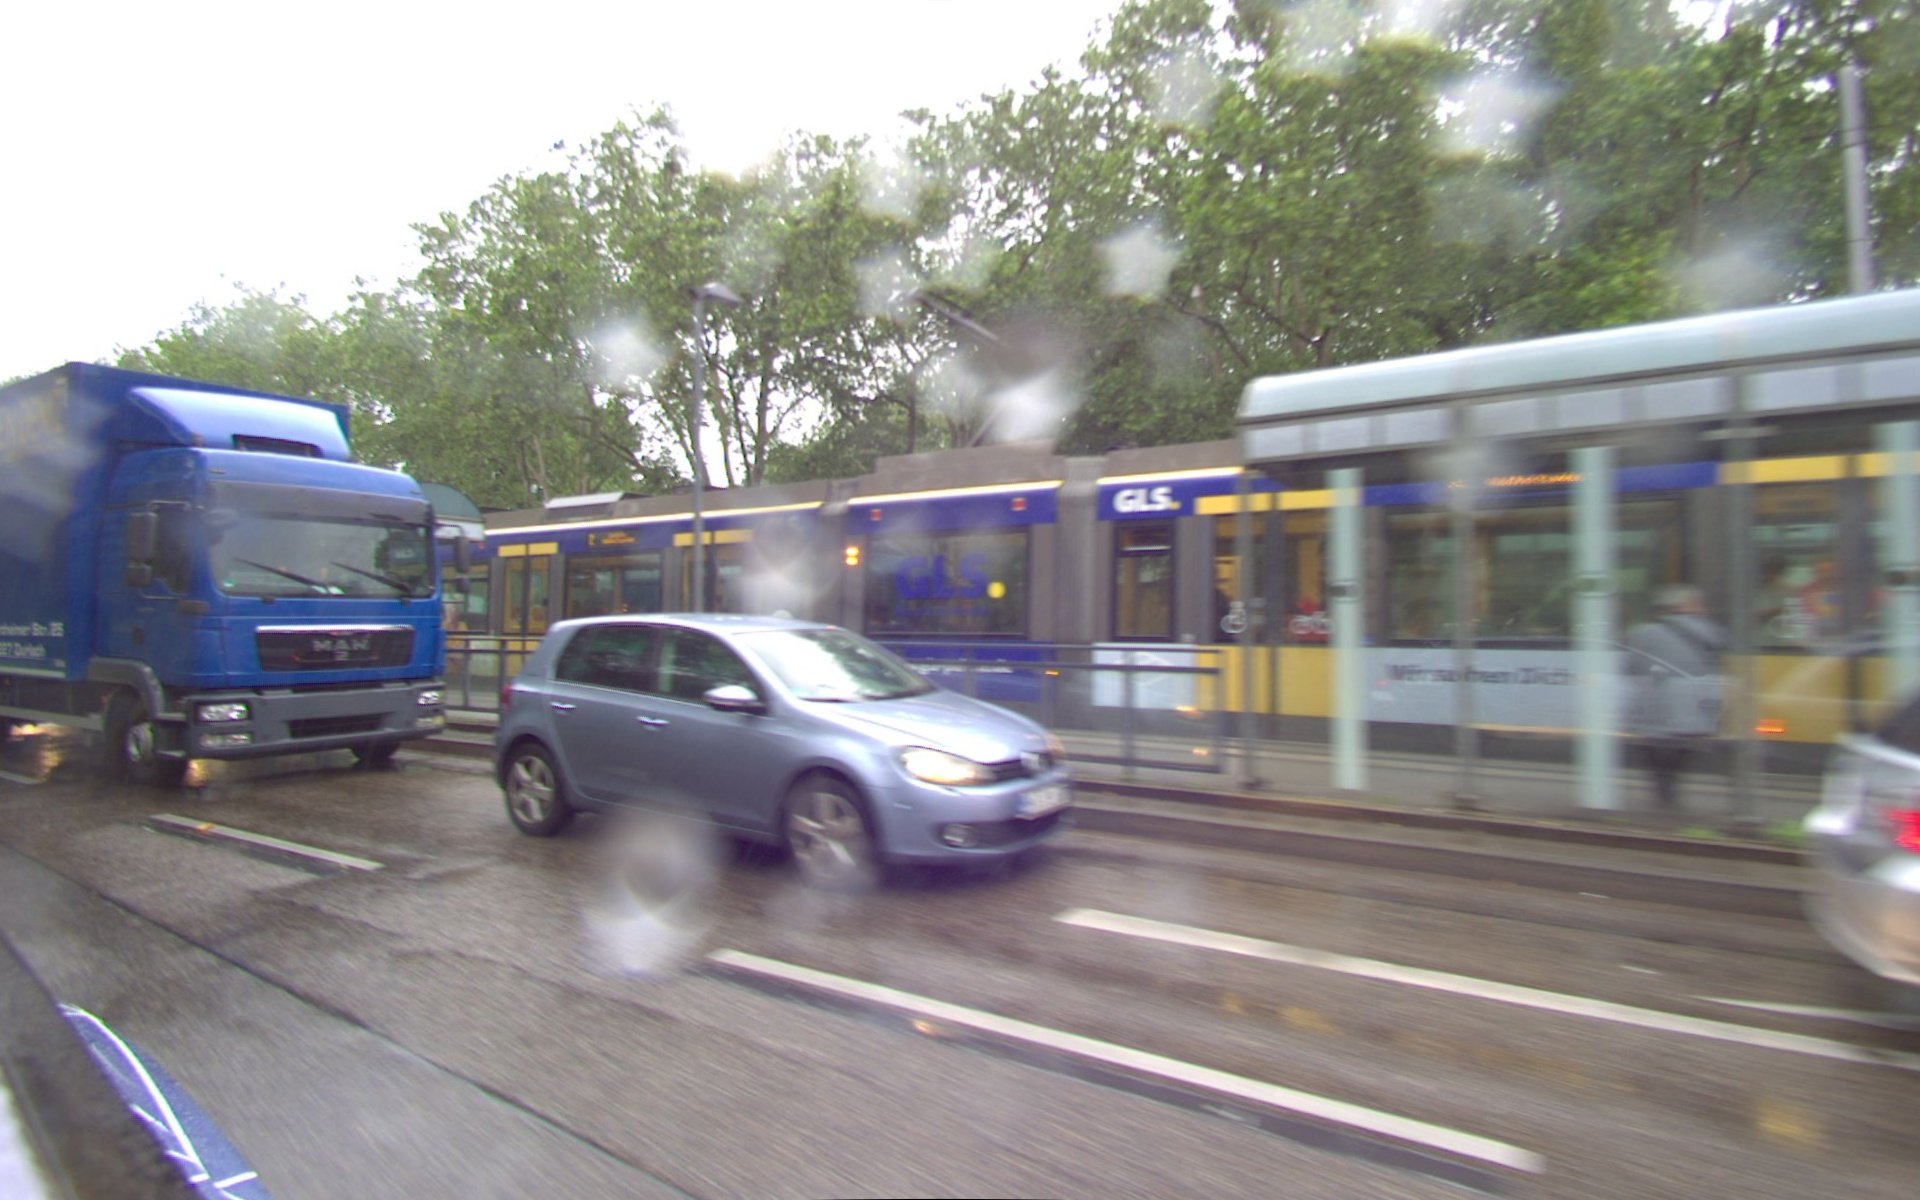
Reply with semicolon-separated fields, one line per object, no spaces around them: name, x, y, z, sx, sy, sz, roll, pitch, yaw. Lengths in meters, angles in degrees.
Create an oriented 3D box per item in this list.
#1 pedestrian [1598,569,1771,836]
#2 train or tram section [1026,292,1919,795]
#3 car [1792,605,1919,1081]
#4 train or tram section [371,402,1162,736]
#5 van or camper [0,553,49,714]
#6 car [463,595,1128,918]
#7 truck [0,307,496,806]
pedestrian;4.178;0.548;5.891;0.748;1.429;0.628;-1;1;31
train or tram section;8.175;-0.430;7.997;15.452;3.438;3.514;-1;1;32
car;5.184;0.713;2.467;4.591;1.405;1.979;-1;-2;32
train or tram section;-3.921;-0.287;15.923;13.619;3.538;3.485;-1;1;33
van or camper;-18.320;0.580;17.642;6.411;2.590;1.978;-1;1;33
car;-1.159;0.759;6.593;4.063;1.498;1.876;-1;-1;32
truck;-9.477;-0.256;11.582;9.778;3.919;2.519;-1;-3;32
